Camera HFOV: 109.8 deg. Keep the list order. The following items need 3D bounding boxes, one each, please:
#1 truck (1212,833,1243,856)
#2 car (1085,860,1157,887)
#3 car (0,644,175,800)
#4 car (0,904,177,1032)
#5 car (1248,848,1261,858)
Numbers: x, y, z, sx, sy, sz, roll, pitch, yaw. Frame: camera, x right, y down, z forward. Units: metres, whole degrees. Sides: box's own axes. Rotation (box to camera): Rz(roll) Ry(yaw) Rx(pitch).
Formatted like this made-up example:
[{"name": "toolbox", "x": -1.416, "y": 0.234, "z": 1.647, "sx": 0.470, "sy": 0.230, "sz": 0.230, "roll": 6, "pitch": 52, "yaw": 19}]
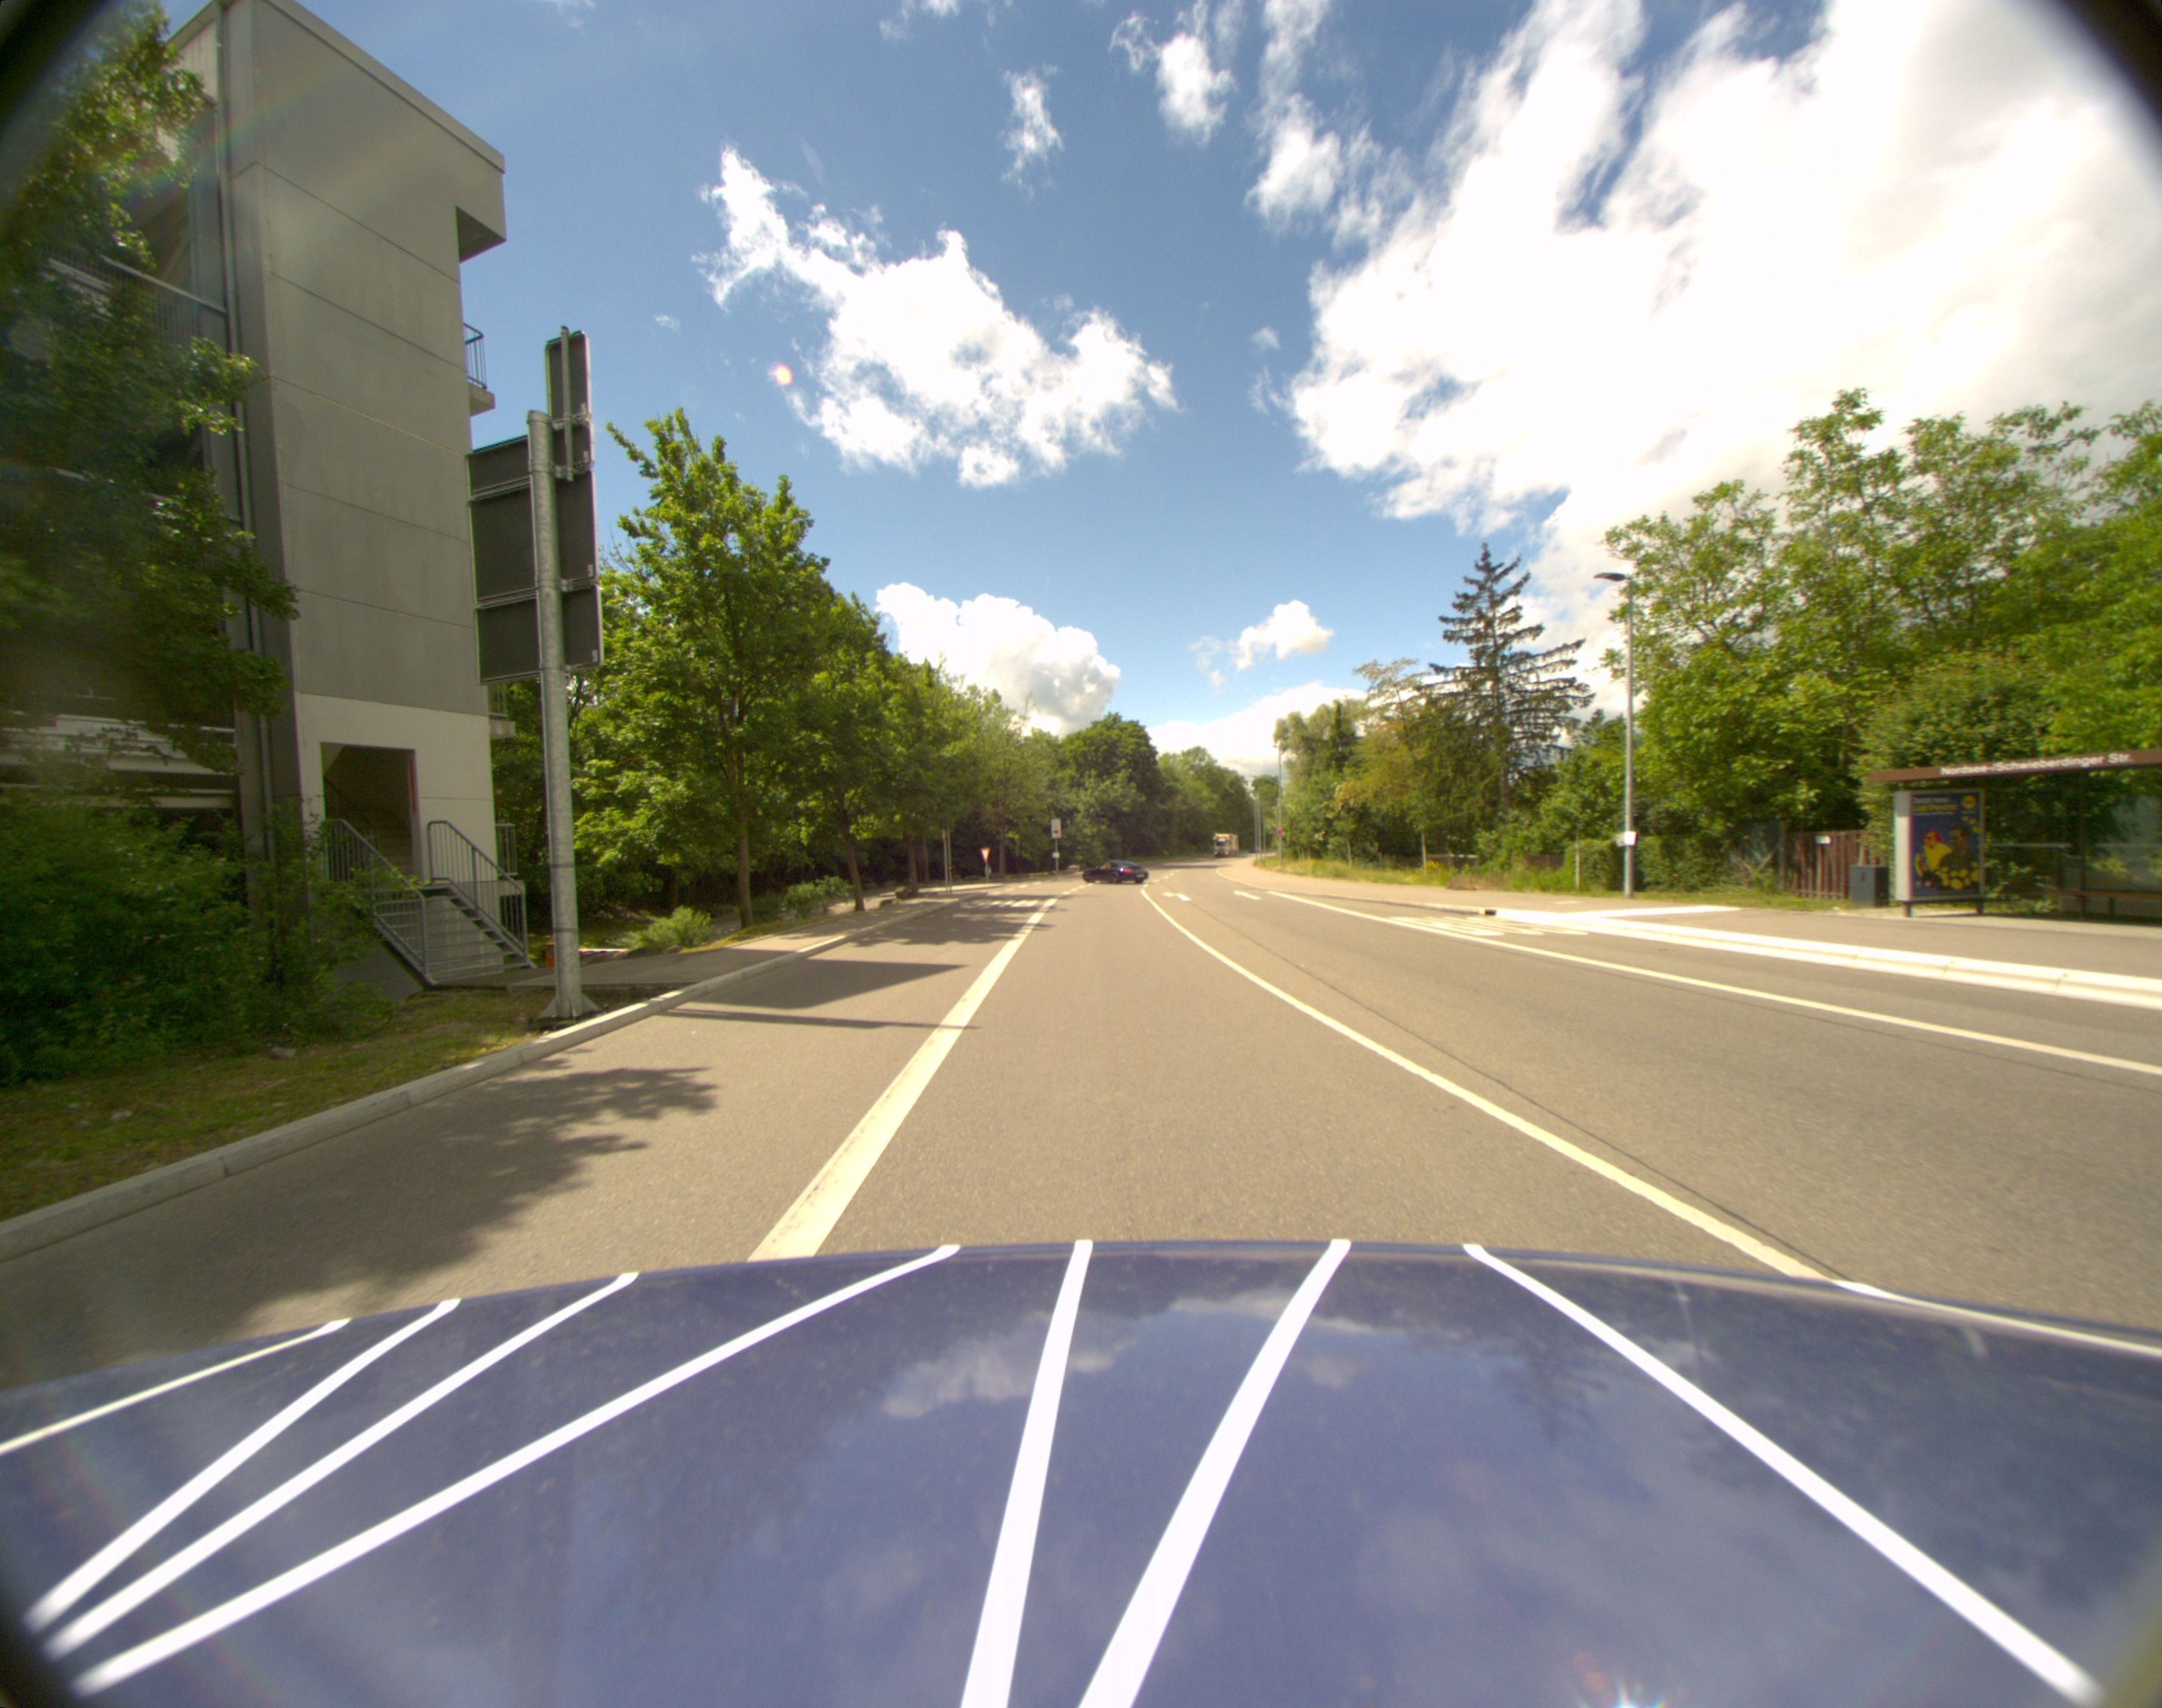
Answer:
[{"name": "truck", "x": 24.779, "y": -1.665, "z": 127.855, "sx": 3.235, "sy": 3.839, "sz": 9.887, "roll": 0, "pitch": 2, "yaw": 23}, {"name": "car", "x": 2.111, "y": 1.015, "z": 41.125, "sx": 1.743, "sy": 1.293, "sz": 3.993, "roll": -2, "pitch": 1, "yaw": -36}, {"name": "car", "x": -14.650, "y": -1.700, "z": 10.445, "sx": 3.767, "sy": 1.615, "sz": 1.668, "roll": -2, "pitch": 1, "yaw": 22}, {"name": "car", "x": -14.852, "y": 1.509, "z": 10.648, "sx": 3.767, "sy": 1.455, "sz": 1.668, "roll": -2, "pitch": 0, "yaw": 22}, {"name": "car", "x": 35.598, "y": -0.259, "z": 155.632, "sx": 1.995, "sy": 2.002, "sz": 4.005, "roll": 0, "pitch": 2, "yaw": 21}]
